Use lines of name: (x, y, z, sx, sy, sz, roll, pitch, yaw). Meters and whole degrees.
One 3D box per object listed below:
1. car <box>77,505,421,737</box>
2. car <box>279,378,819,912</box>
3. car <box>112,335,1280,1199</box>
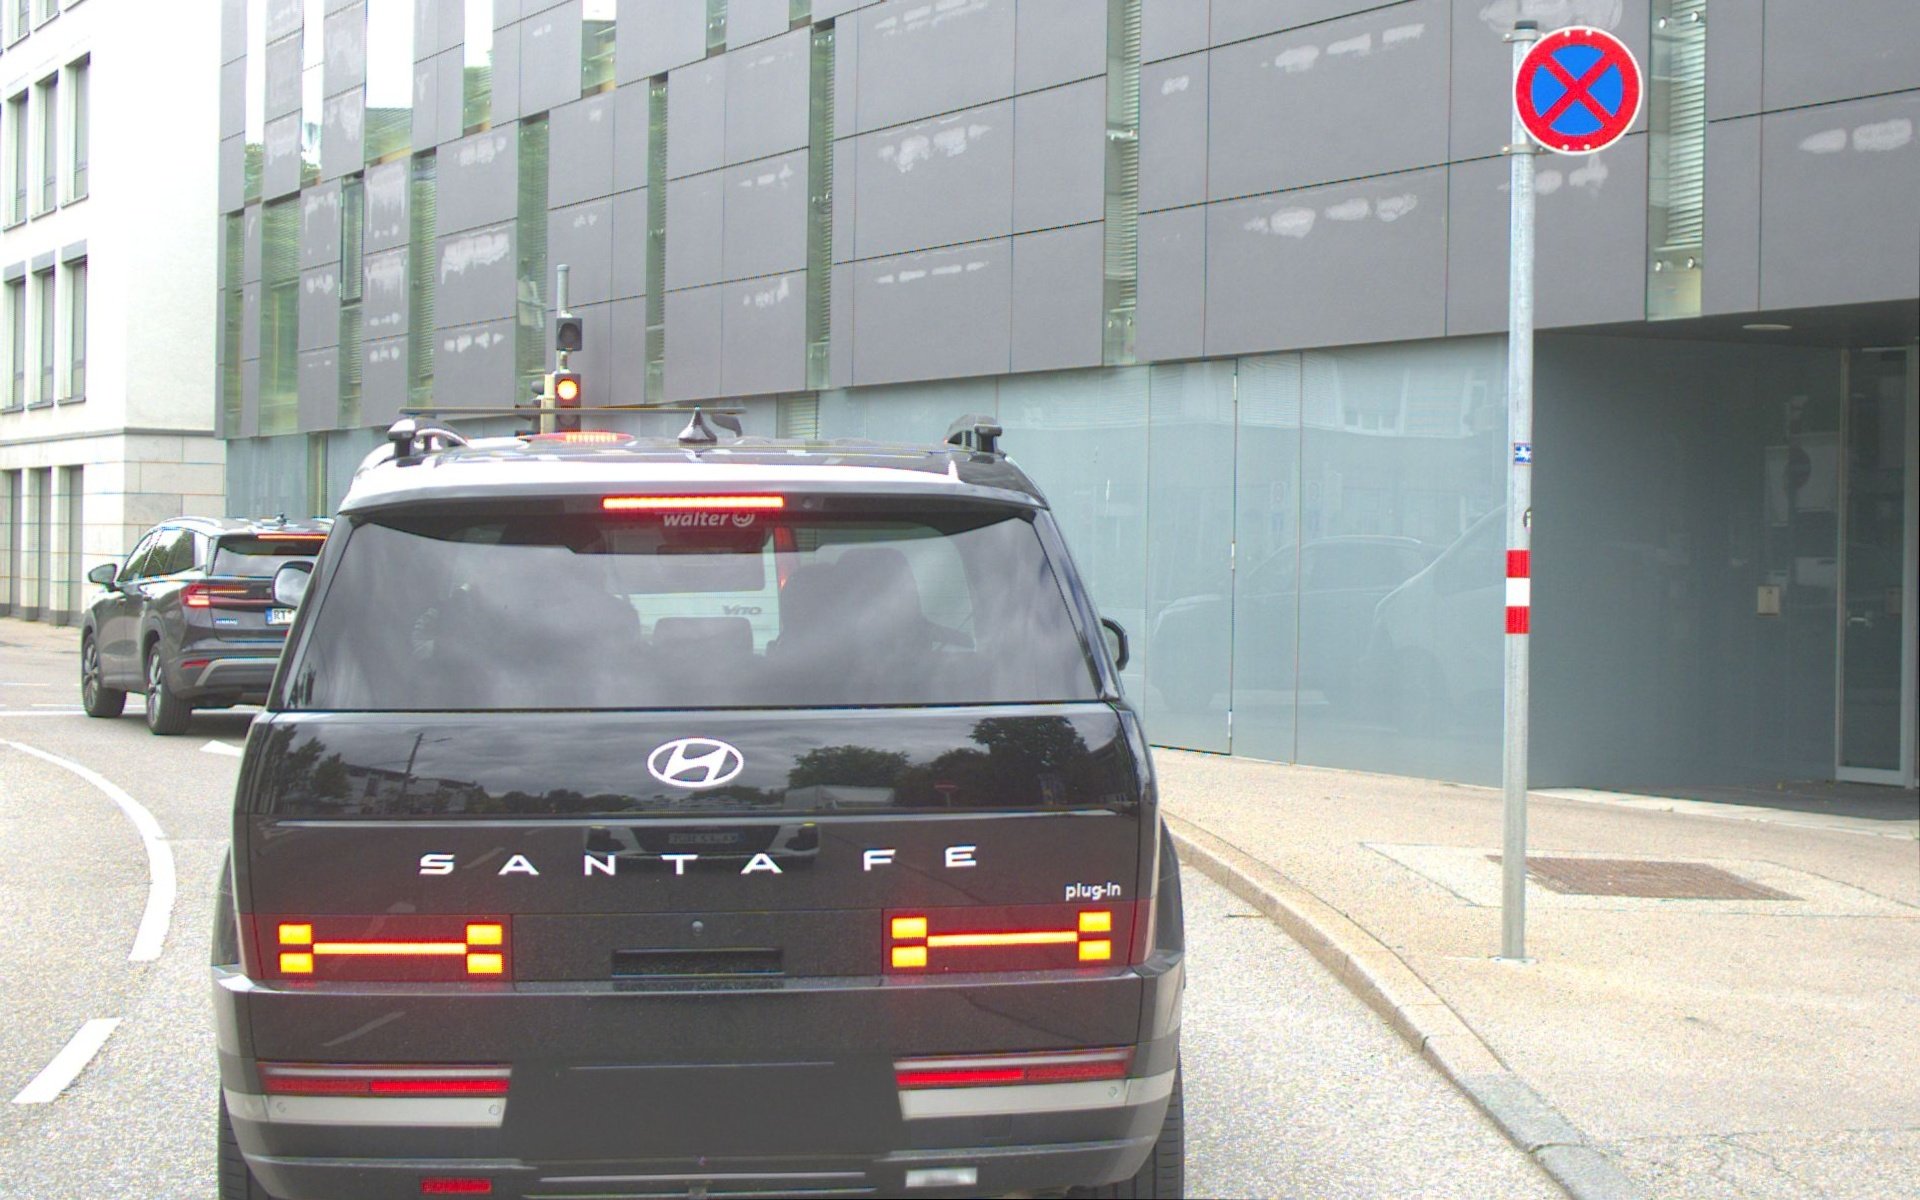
car: (-5.701, 0.123, 27.171, 1.847, 1.671, 4.376, -1, 1, -23)
car: (-1.995, 0.121, 15.397, 1.855, 2.026, 4.439, 0, 1, -14)
car: (-0.577, 0.415, 7.916, 1.915, 1.719, 4.171, 2, 1, -4)
